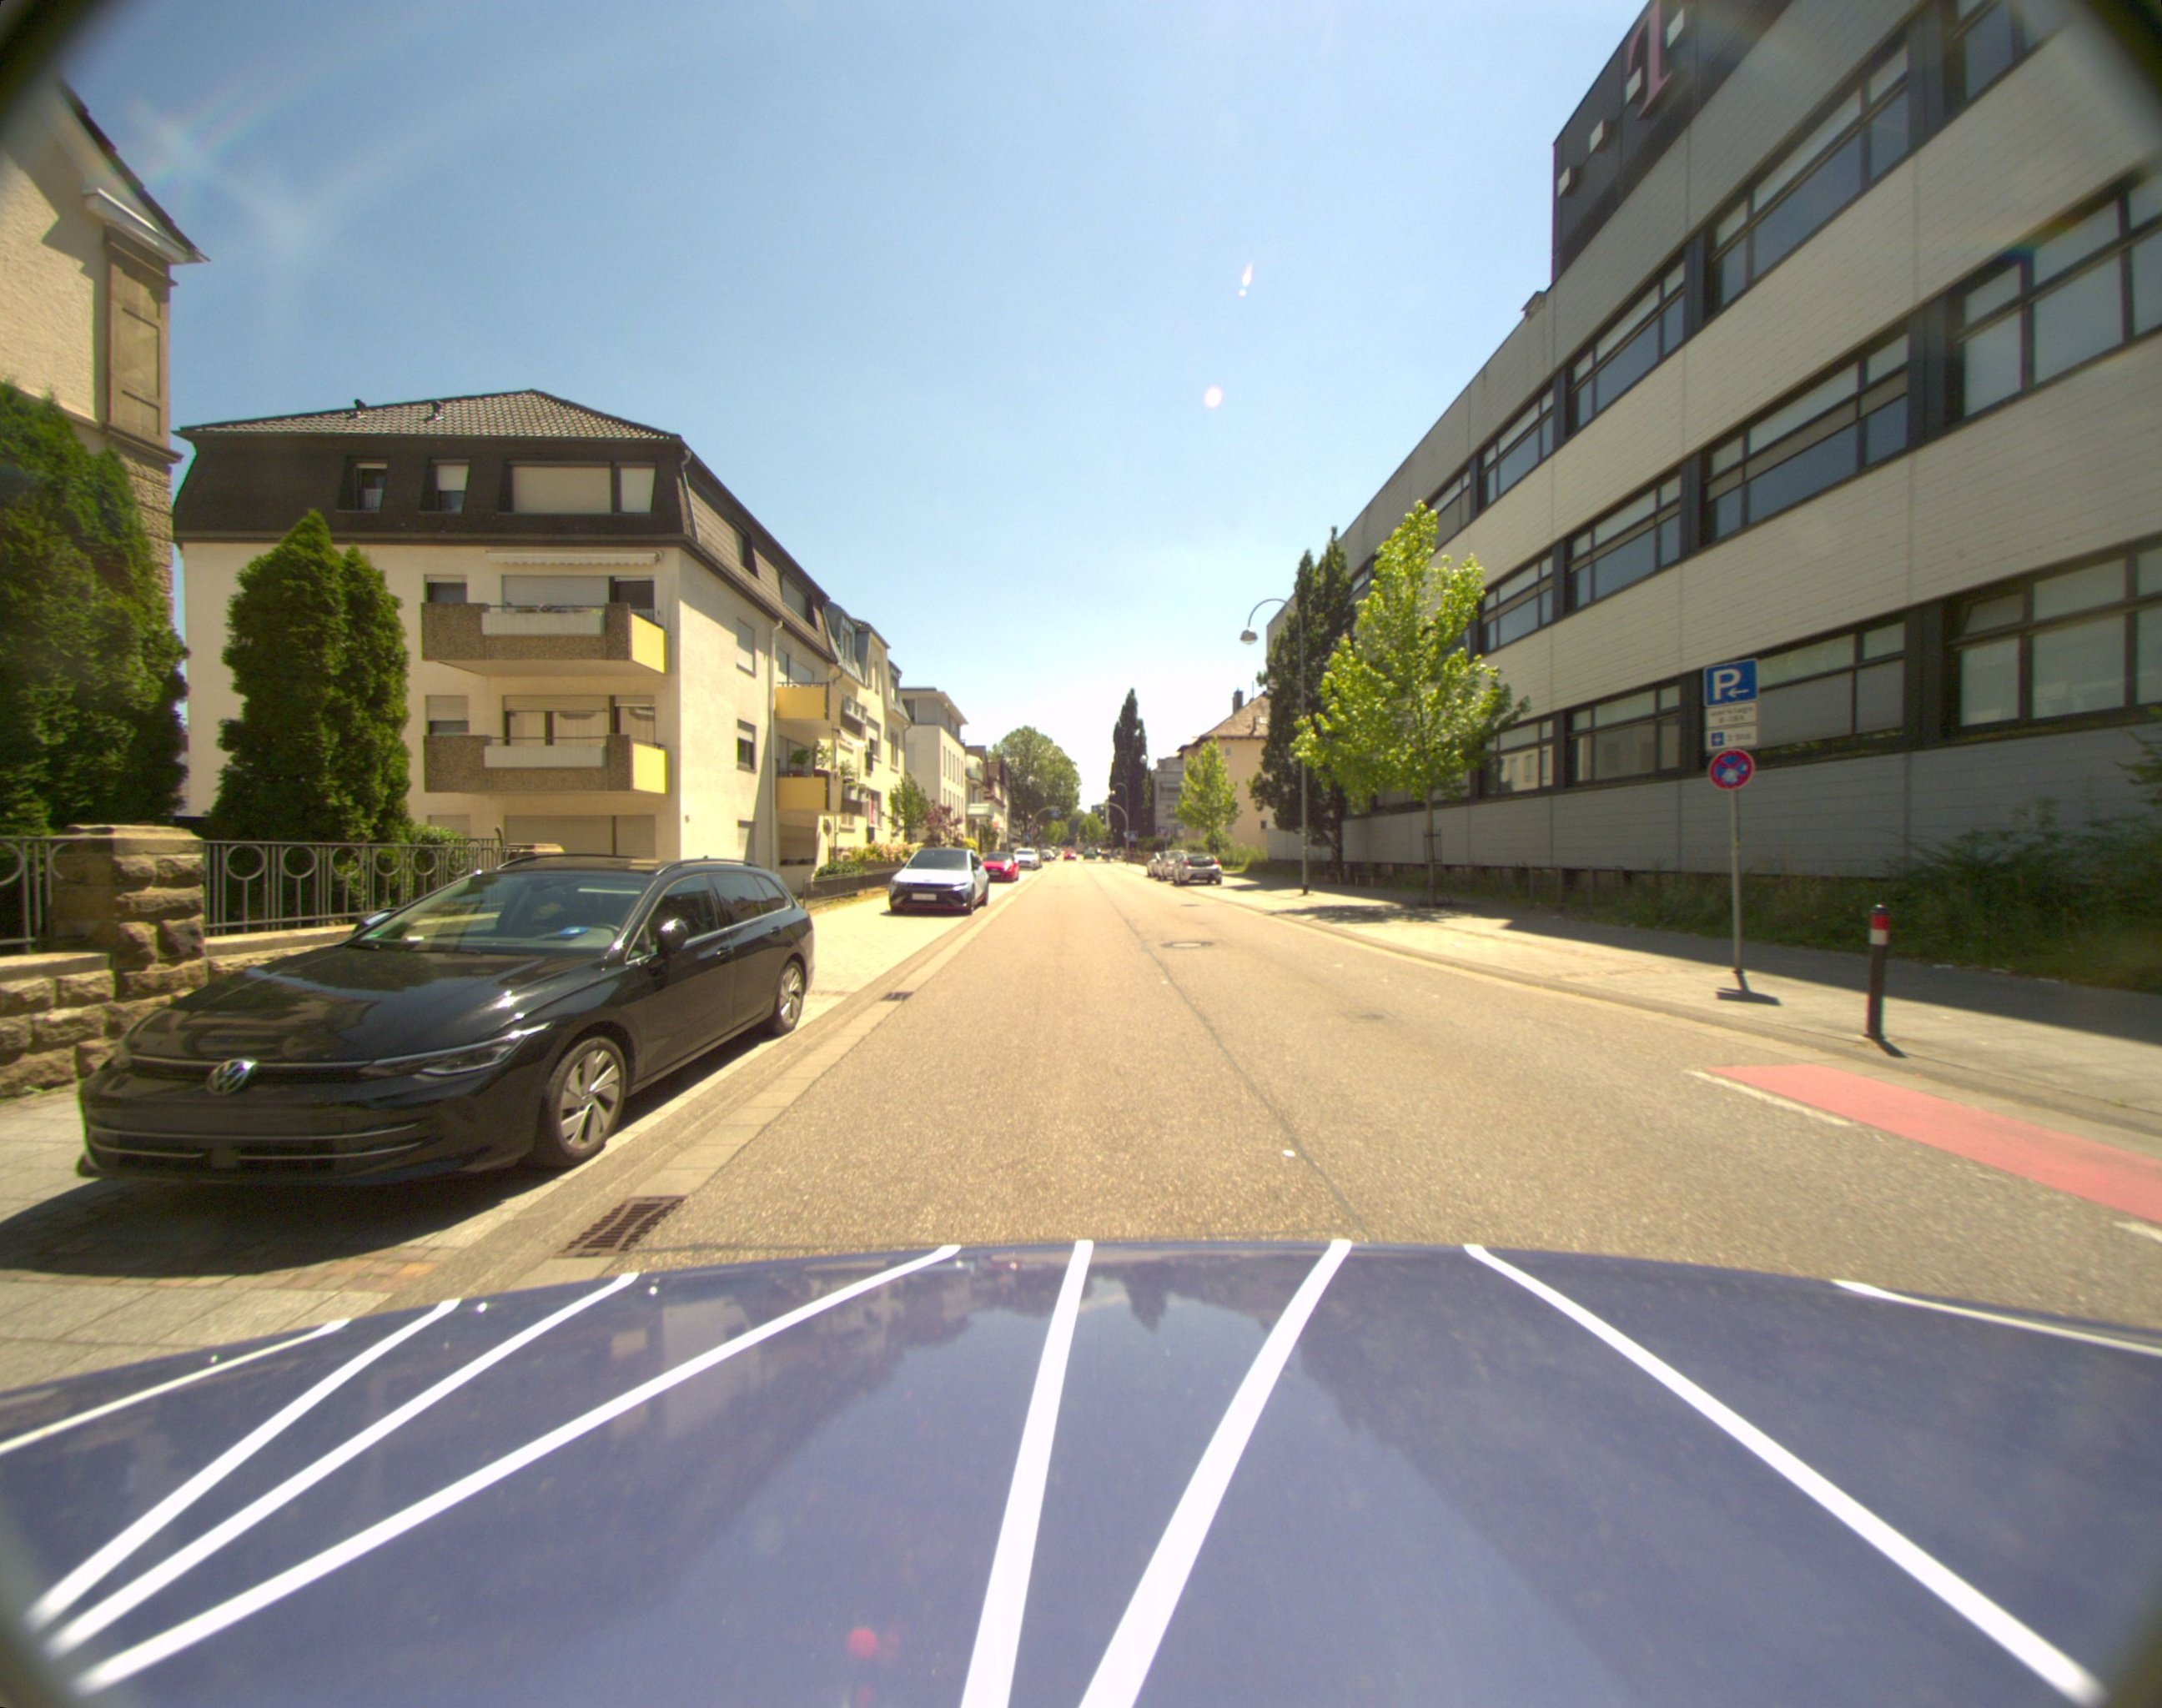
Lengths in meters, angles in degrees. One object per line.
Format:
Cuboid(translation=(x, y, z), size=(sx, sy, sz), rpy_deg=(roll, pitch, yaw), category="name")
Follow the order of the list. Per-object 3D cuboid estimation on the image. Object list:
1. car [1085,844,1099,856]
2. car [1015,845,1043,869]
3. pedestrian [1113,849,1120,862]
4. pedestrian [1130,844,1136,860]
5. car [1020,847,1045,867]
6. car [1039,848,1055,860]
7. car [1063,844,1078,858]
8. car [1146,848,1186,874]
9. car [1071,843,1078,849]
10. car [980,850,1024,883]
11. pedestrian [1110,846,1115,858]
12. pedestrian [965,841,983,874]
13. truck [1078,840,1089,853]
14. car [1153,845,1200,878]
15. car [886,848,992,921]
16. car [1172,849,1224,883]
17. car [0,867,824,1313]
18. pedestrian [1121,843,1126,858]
Cuboid(translation=(1.628, -0.620, 110.297), size=(1.826, 1.579, 4.099), rpy_deg=(-3, 1, 2), category="car")
Cuboid(translation=(-3.940, 0.240, 58.081), size=(1.709, 1.656, 4.579), rpy_deg=(3, 0, 0), category="car")
Cuboid(translation=(4.679, 0.204, 101.296), size=(0.848, 1.635, 0.751), rpy_deg=(-3, 2, 1), category="pedestrian")
Cuboid(translation=(5.331, -0.210, 77.349), size=(0.538, 1.675, 0.708), rpy_deg=(0, 1, -1), category="pedestrian")
Cuboid(translation=(-4.030, 0.213, 63.572), size=(1.709, 1.547, 4.747), rpy_deg=(4, 0, 0), category="car")
Cuboid(translation=(-4.376, -0.051, 97.805), size=(1.831, 1.418, 4.699), rpy_deg=(1, 1, -1), category="car")
Cuboid(translation=(-1.439, -0.432, 103.894), size=(2.000, 1.880, 4.293), rpy_deg=(-1, 1, -1), category="car")
Cuboid(translation=(4.935, 0.362, 44.688), size=(1.827, 1.403, 4.576), rpy_deg=(-2, 1, 0), category="car")
Cuboid(translation=(-1.884, -2.415, 222.381), size=(1.732, 1.500, 4.291), rpy_deg=(-1, 3, -3), category="car")
Cuboid(translation=(-3.721, 0.544, 36.526), size=(1.607, 1.432, 3.852), rpy_deg=(3, 0, 1), category="car")
Cuboid(translation=(4.553, -0.285, 109.270), size=(0.622, 1.667, 0.903), rpy_deg=(-2, 1, -1), category="pedestrian")
Cuboid(translation=(-5.414, 0.173, 38.518), size=(0.742, 1.660, 0.705), rpy_deg=(3, 1, -2), category="pedestrian")
Cuboid(translation=(0.515, -1.791, 178.539), size=(2.425, 2.966, 6.257), rpy_deg=(0, 0, 1), category="truck")
Cuboid(translation=(4.879, 0.351, 39.259), size=(1.827, 1.503, 4.288), rpy_deg=(-2, 1, 0), category="car")
Cuboid(translation=(-3.496, 0.674, 19.545), size=(1.848, 1.610, 4.426), rpy_deg=(2, 1, 0), category="car")
Cuboid(translation=(5.135, 0.490, 33.783), size=(1.752, 1.401, 3.932), rpy_deg=(-2, 0, 1), category="car")
Cuboid(translation=(-3.239, 0.895, 4.931), size=(1.636, 1.438, 4.397), rpy_deg=(3, 0, -1), category="car")
Cuboid(translation=(4.951, -0.411, 87.973), size=(0.538, 1.675, 0.708), rpy_deg=(0, 1, -1), category="pedestrian")
